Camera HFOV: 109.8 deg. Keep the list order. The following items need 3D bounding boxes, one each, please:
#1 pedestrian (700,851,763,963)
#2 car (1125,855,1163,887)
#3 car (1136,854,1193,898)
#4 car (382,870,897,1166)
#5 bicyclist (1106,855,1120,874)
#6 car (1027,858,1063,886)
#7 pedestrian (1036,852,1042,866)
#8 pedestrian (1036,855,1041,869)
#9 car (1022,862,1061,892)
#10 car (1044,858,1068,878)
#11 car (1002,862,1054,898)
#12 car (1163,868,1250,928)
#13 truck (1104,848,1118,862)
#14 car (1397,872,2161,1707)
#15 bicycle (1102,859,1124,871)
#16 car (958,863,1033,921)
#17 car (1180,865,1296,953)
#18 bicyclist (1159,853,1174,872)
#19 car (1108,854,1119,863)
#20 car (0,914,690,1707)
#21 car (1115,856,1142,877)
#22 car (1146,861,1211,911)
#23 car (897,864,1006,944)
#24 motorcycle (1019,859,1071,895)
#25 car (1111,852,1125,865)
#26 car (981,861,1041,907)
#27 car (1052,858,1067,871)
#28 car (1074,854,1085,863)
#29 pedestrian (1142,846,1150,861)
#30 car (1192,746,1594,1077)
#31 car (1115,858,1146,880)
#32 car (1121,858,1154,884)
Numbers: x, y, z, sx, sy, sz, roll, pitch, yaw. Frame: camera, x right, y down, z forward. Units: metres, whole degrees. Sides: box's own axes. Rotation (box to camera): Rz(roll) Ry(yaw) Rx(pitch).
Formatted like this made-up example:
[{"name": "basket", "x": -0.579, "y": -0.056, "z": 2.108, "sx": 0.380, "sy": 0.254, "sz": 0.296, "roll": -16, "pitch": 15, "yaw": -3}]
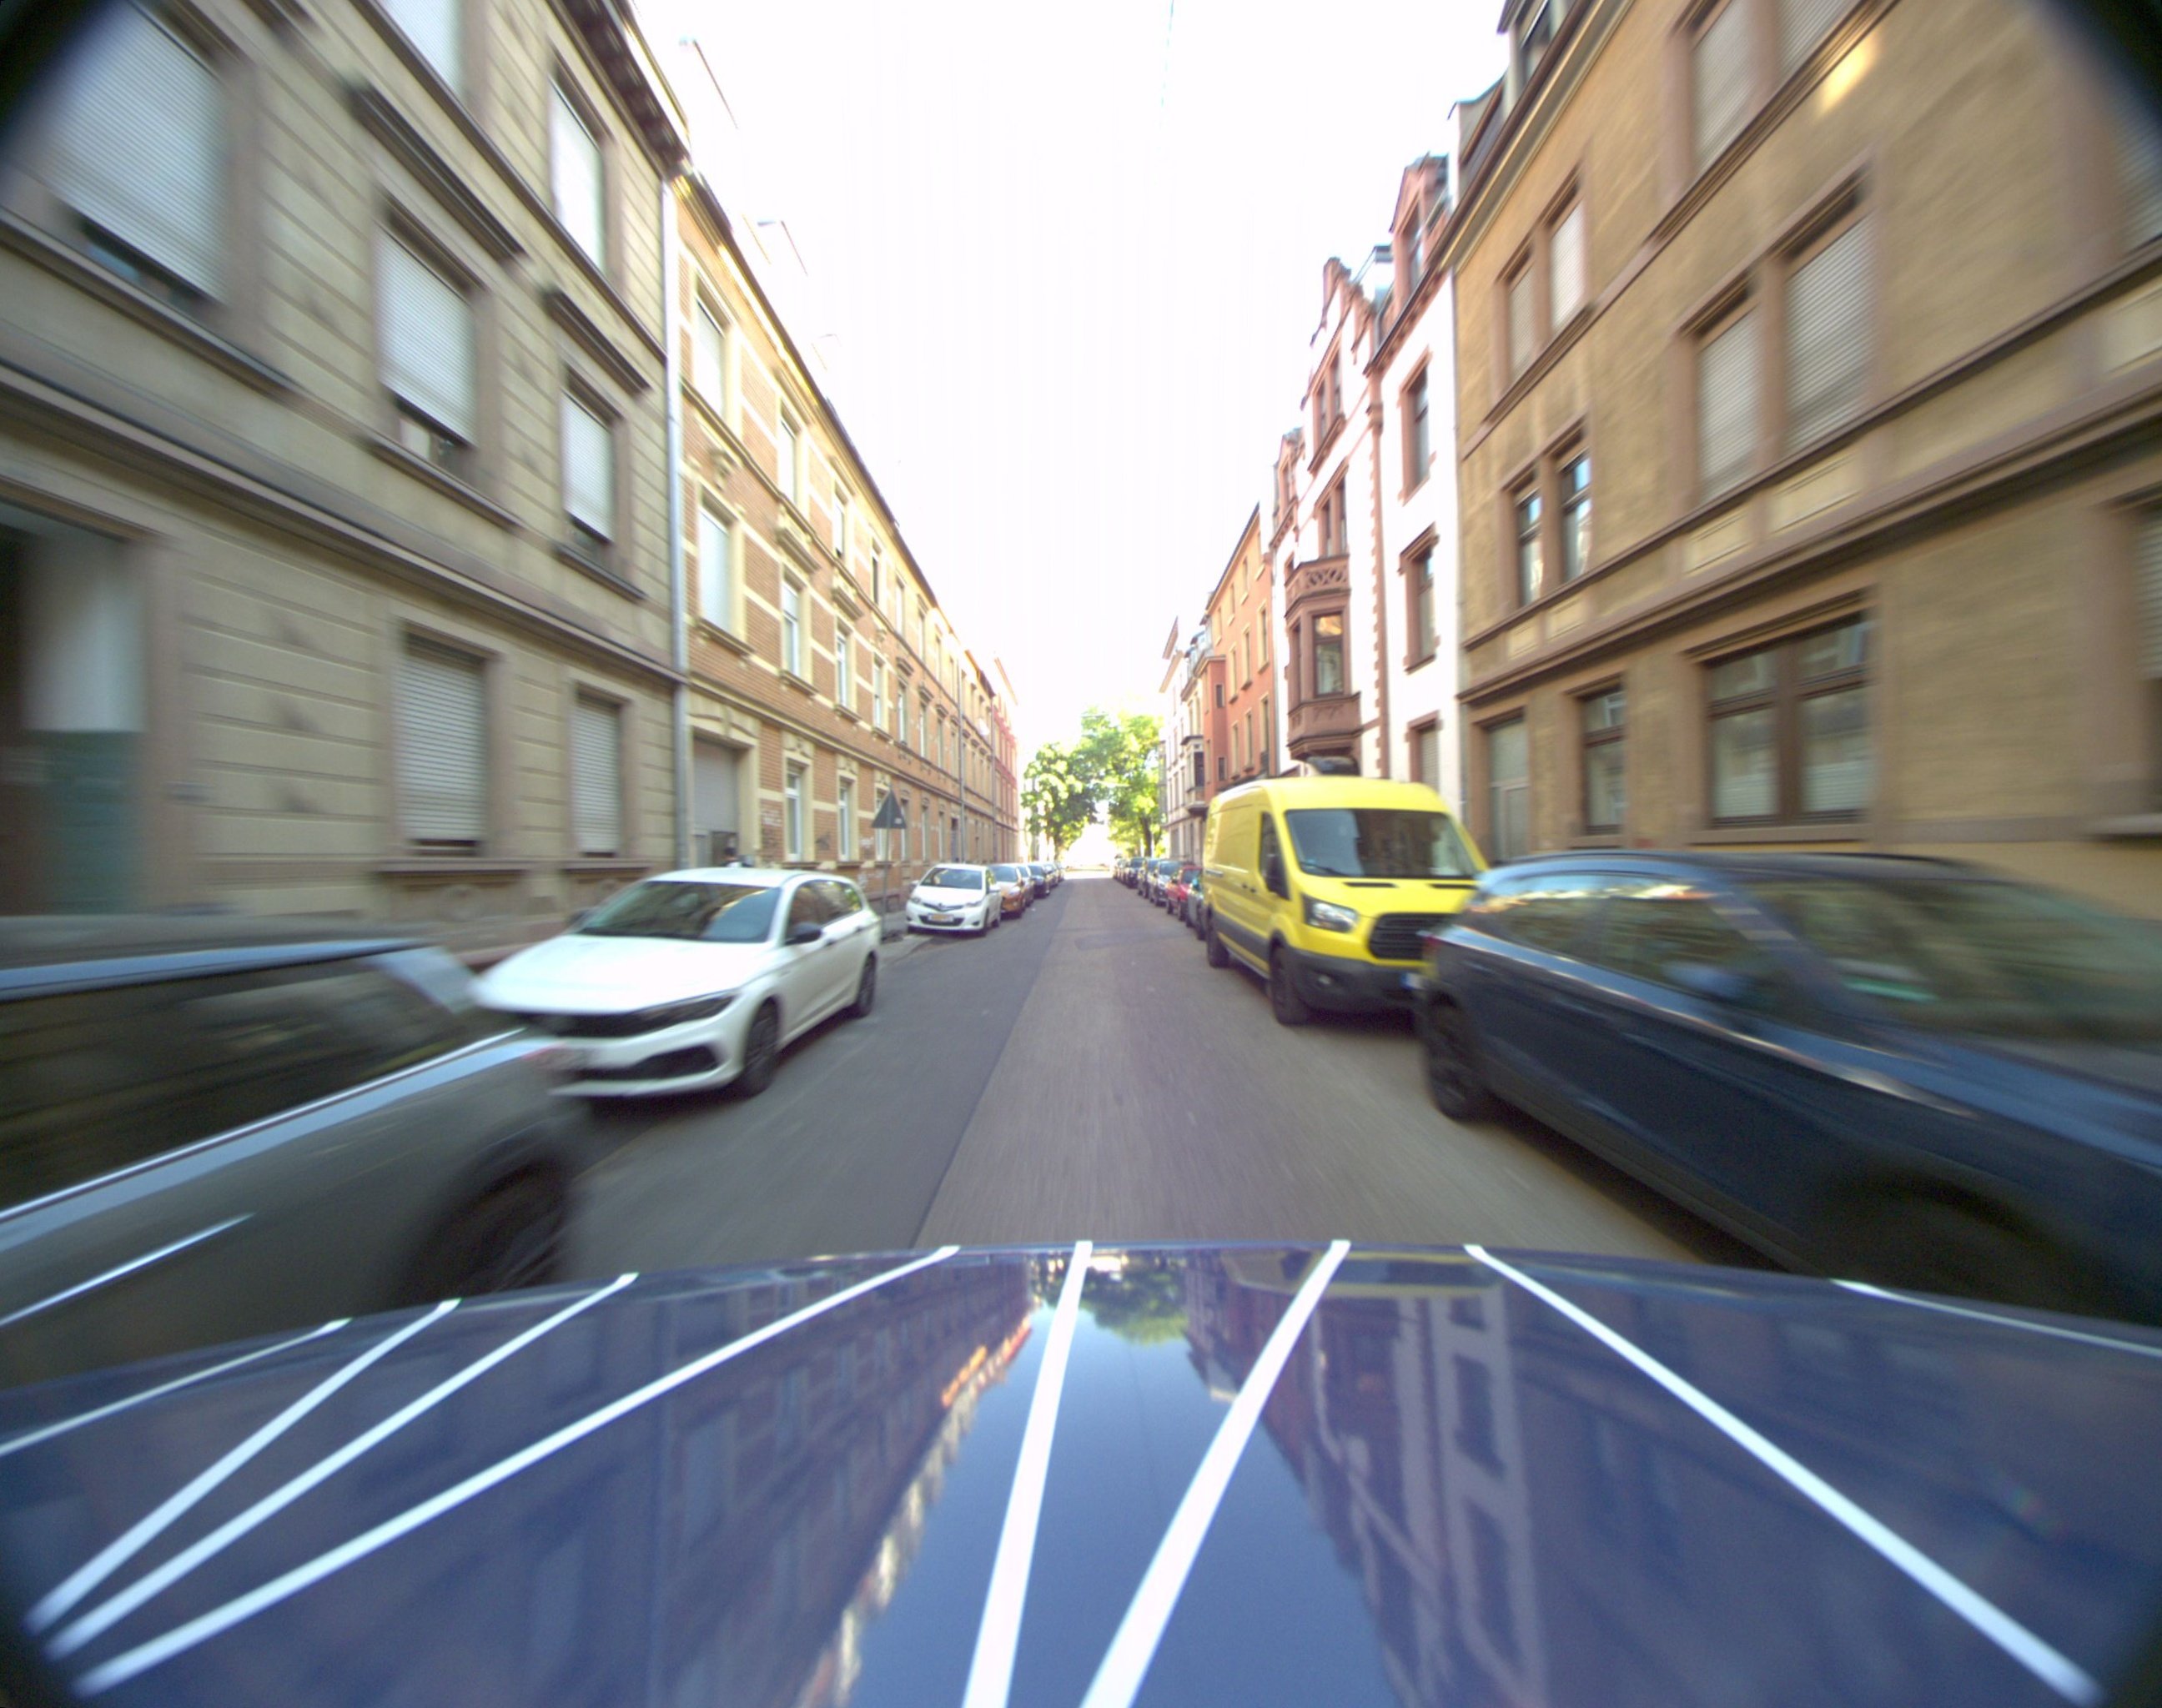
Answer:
[{"name": "pedestrian", "x": -5.343, "y": 0.773, "z": 11.614, "sx": 0.657, "sy": 1.621, "sz": 0.878, "roll": 0, "pitch": 2, "yaw": -41}, {"name": "car", "x": 3.304, "y": 0.867, "z": 40.480, "sx": 1.765, "sy": 1.608, "sz": 4.189, "roll": -1, "pitch": 0, "yaw": 1}, {"name": "car", "x": 3.301, "y": 0.839, "z": 30.768, "sx": 1.786, "sy": 1.596, "sz": 4.069, "roll": -1, "pitch": 0, "yaw": -1}, {"name": "car", "x": -3.023, "y": 0.972, "z": 6.496, "sx": 1.758, "sy": 1.509, "sz": 4.443, "roll": 3, "pitch": 0, "yaw": 0}, {"name": "bicyclist", "x": 3.201, "y": 1.044, "z": 76.118, "sx": 0.936, "sy": 1.809, "sz": 1.075, "roll": -2, "pitch": 0, "yaw": -38}, {"name": "car", "x": -2.031, "y": 1.005, "z": 43.923, "sx": 1.766, "sy": 1.475, "sz": 4.402, "roll": -1, "pitch": 0, "yaw": 1}, {"name": "pedestrian", "x": -5.535, "y": 0.692, "z": 100.506, "sx": 0.706, "sy": 1.834, "sz": 0.840, "roll": -1, "pitch": 0, "yaw": -5}, {"name": "pedestrian", "x": -5.523, "y": 1.069, "z": 99.689, "sx": 0.529, "sy": 1.834, "sz": 0.707, "roll": -1, "pitch": 0, "yaw": 2}, {"name": "car", "x": -2.001, "y": 1.143, "z": 39.377, "sx": 1.696, "sy": 1.398, "sz": 3.992, "roll": -1, "pitch": 0, "yaw": 1}, {"name": "car", "x": -1.939, "y": 1.052, "z": 59.810, "sx": 1.709, "sy": 1.454, "sz": 3.970, "roll": -1, "pitch": 0, "yaw": 1}, {"name": "car", "x": -2.188, "y": 1.077, "z": 32.532, "sx": 1.782, "sy": 1.388, "sz": 4.317, "roll": -1, "pitch": 0, "yaw": 1}, {"name": "car", "x": 3.153, "y": 1.069, "z": 19.761, "sx": 1.622, "sy": 1.319, "sz": 3.612, "roll": 2, "pitch": 0, "yaw": 0}, {"name": "truck", "x": 6.004, "y": 0.251, "z": 152.633, "sx": 2.395, "sy": 2.641, "sz": 7.092, "roll": -1, "pitch": 0, "yaw": -1}, {"name": "car", "x": 2.998, "y": 0.894, "z": 2.802, "sx": 1.998, "sy": 1.543, "sz": 4.000, "roll": -1, "pitch": 0, "yaw": 0}, {"name": "bicycle", "x": 3.150, "y": 1.099, "z": 76.054, "sx": 0.812, "sy": 1.136, "sz": 2.541, "roll": -1, "pitch": 0, "yaw": -34}, {"name": "car", "x": -2.405, "y": 1.044, "z": 22.309, "sx": 1.758, "sy": 1.437, "sz": 4.068, "roll": 2, "pitch": 0, "yaw": -1}, {"name": "car", "x": 3.031, "y": 1.006, "z": 15.411, "sx": 1.722, "sy": 1.404, "sz": 3.898, "roll": 3, "pitch": 0, "yaw": 4}, {"name": "bicyclist", "x": 8.521, "y": 0.836, "z": 76.092, "sx": 1.136, "sy": 1.904, "sz": 0.969, "roll": -1, "pitch": 0, "yaw": 34}, {"name": "car", "x": 5.701, "y": 0.828, "z": 134.851, "sx": 1.755, "sy": 1.464, "sz": 4.000, "roll": -3, "pitch": 0, "yaw": 1}, {"name": "car", "x": -2.628, "y": 1.002, "z": 1.065, "sx": 1.758, "sy": 1.444, "sz": 4.288, "roll": 3, "pitch": 0, "yaw": 2}, {"name": "car", "x": 3.475, "y": 0.886, "z": 56.231, "sx": 1.785, "sy": 1.474, "sz": 3.743, "roll": -1, "pitch": 0, "yaw": 1}, {"name": "car", "x": 3.210, "y": 1.013, "z": 25.624, "sx": 1.698, "sy": 1.466, "sz": 3.919, "roll": 1, "pitch": 0, "yaw": 1}, {"name": "car", "x": -2.807, "y": 1.031, "z": 17.340, "sx": 1.725, "sy": 1.472, "sz": 4.082, "roll": 3, "pitch": 0, "yaw": 0}, {"name": "motorcycle", "x": -1.706, "y": 1.080, "z": 36.098, "sx": 2.229, "sy": 1.527, "sz": 0.888, "roll": -4, "pitch": 0, "yaw": -25}, {"name": "car", "x": 5.534, "y": 0.684, "z": 114.020, "sx": 1.998, "sy": 1.946, "sz": 5.042, "roll": 1, "pitch": 0, "yaw": 1}, {"name": "car", "x": -2.416, "y": 1.012, "z": 27.054, "sx": 1.730, "sy": 1.409, "sz": 4.093, "roll": 3, "pitch": 0, "yaw": -1}, {"name": "car", "x": -2.661, "y": 1.256, "z": 94.659, "sx": 1.685, "sy": 1.531, "sz": 4.134, "roll": 0, "pitch": 0, "yaw": 0}, {"name": "car", "x": -0.266, "y": 0.721, "z": 129.878, "sx": 1.812, "sy": 1.412, "sz": 4.000, "roll": -1, "pitch": 0, "yaw": 1}, {"name": "pedestrian", "x": 8.074, "y": -0.053, "z": 94.576, "sx": 0.804, "sy": 1.736, "sz": 1.006, "roll": -1, "pitch": 0, "yaw": 1}, {"name": "car", "x": 2.804, "y": 0.443, "z": 8.733, "sx": 2.180, "sy": 2.493, "sz": 5.878, "roll": 1, "pitch": 0, "yaw": 0}, {"name": "car", "x": 3.317, "y": 0.995, "z": 51.344, "sx": 1.786, "sy": 1.395, "sz": 3.742, "roll": -1, "pitch": 0, "yaw": -1}, {"name": "car", "x": 3.344, "y": 0.973, "z": 45.749, "sx": 1.647, "sy": 1.447, "sz": 3.839, "roll": 1, "pitch": 0, "yaw": 0}]
